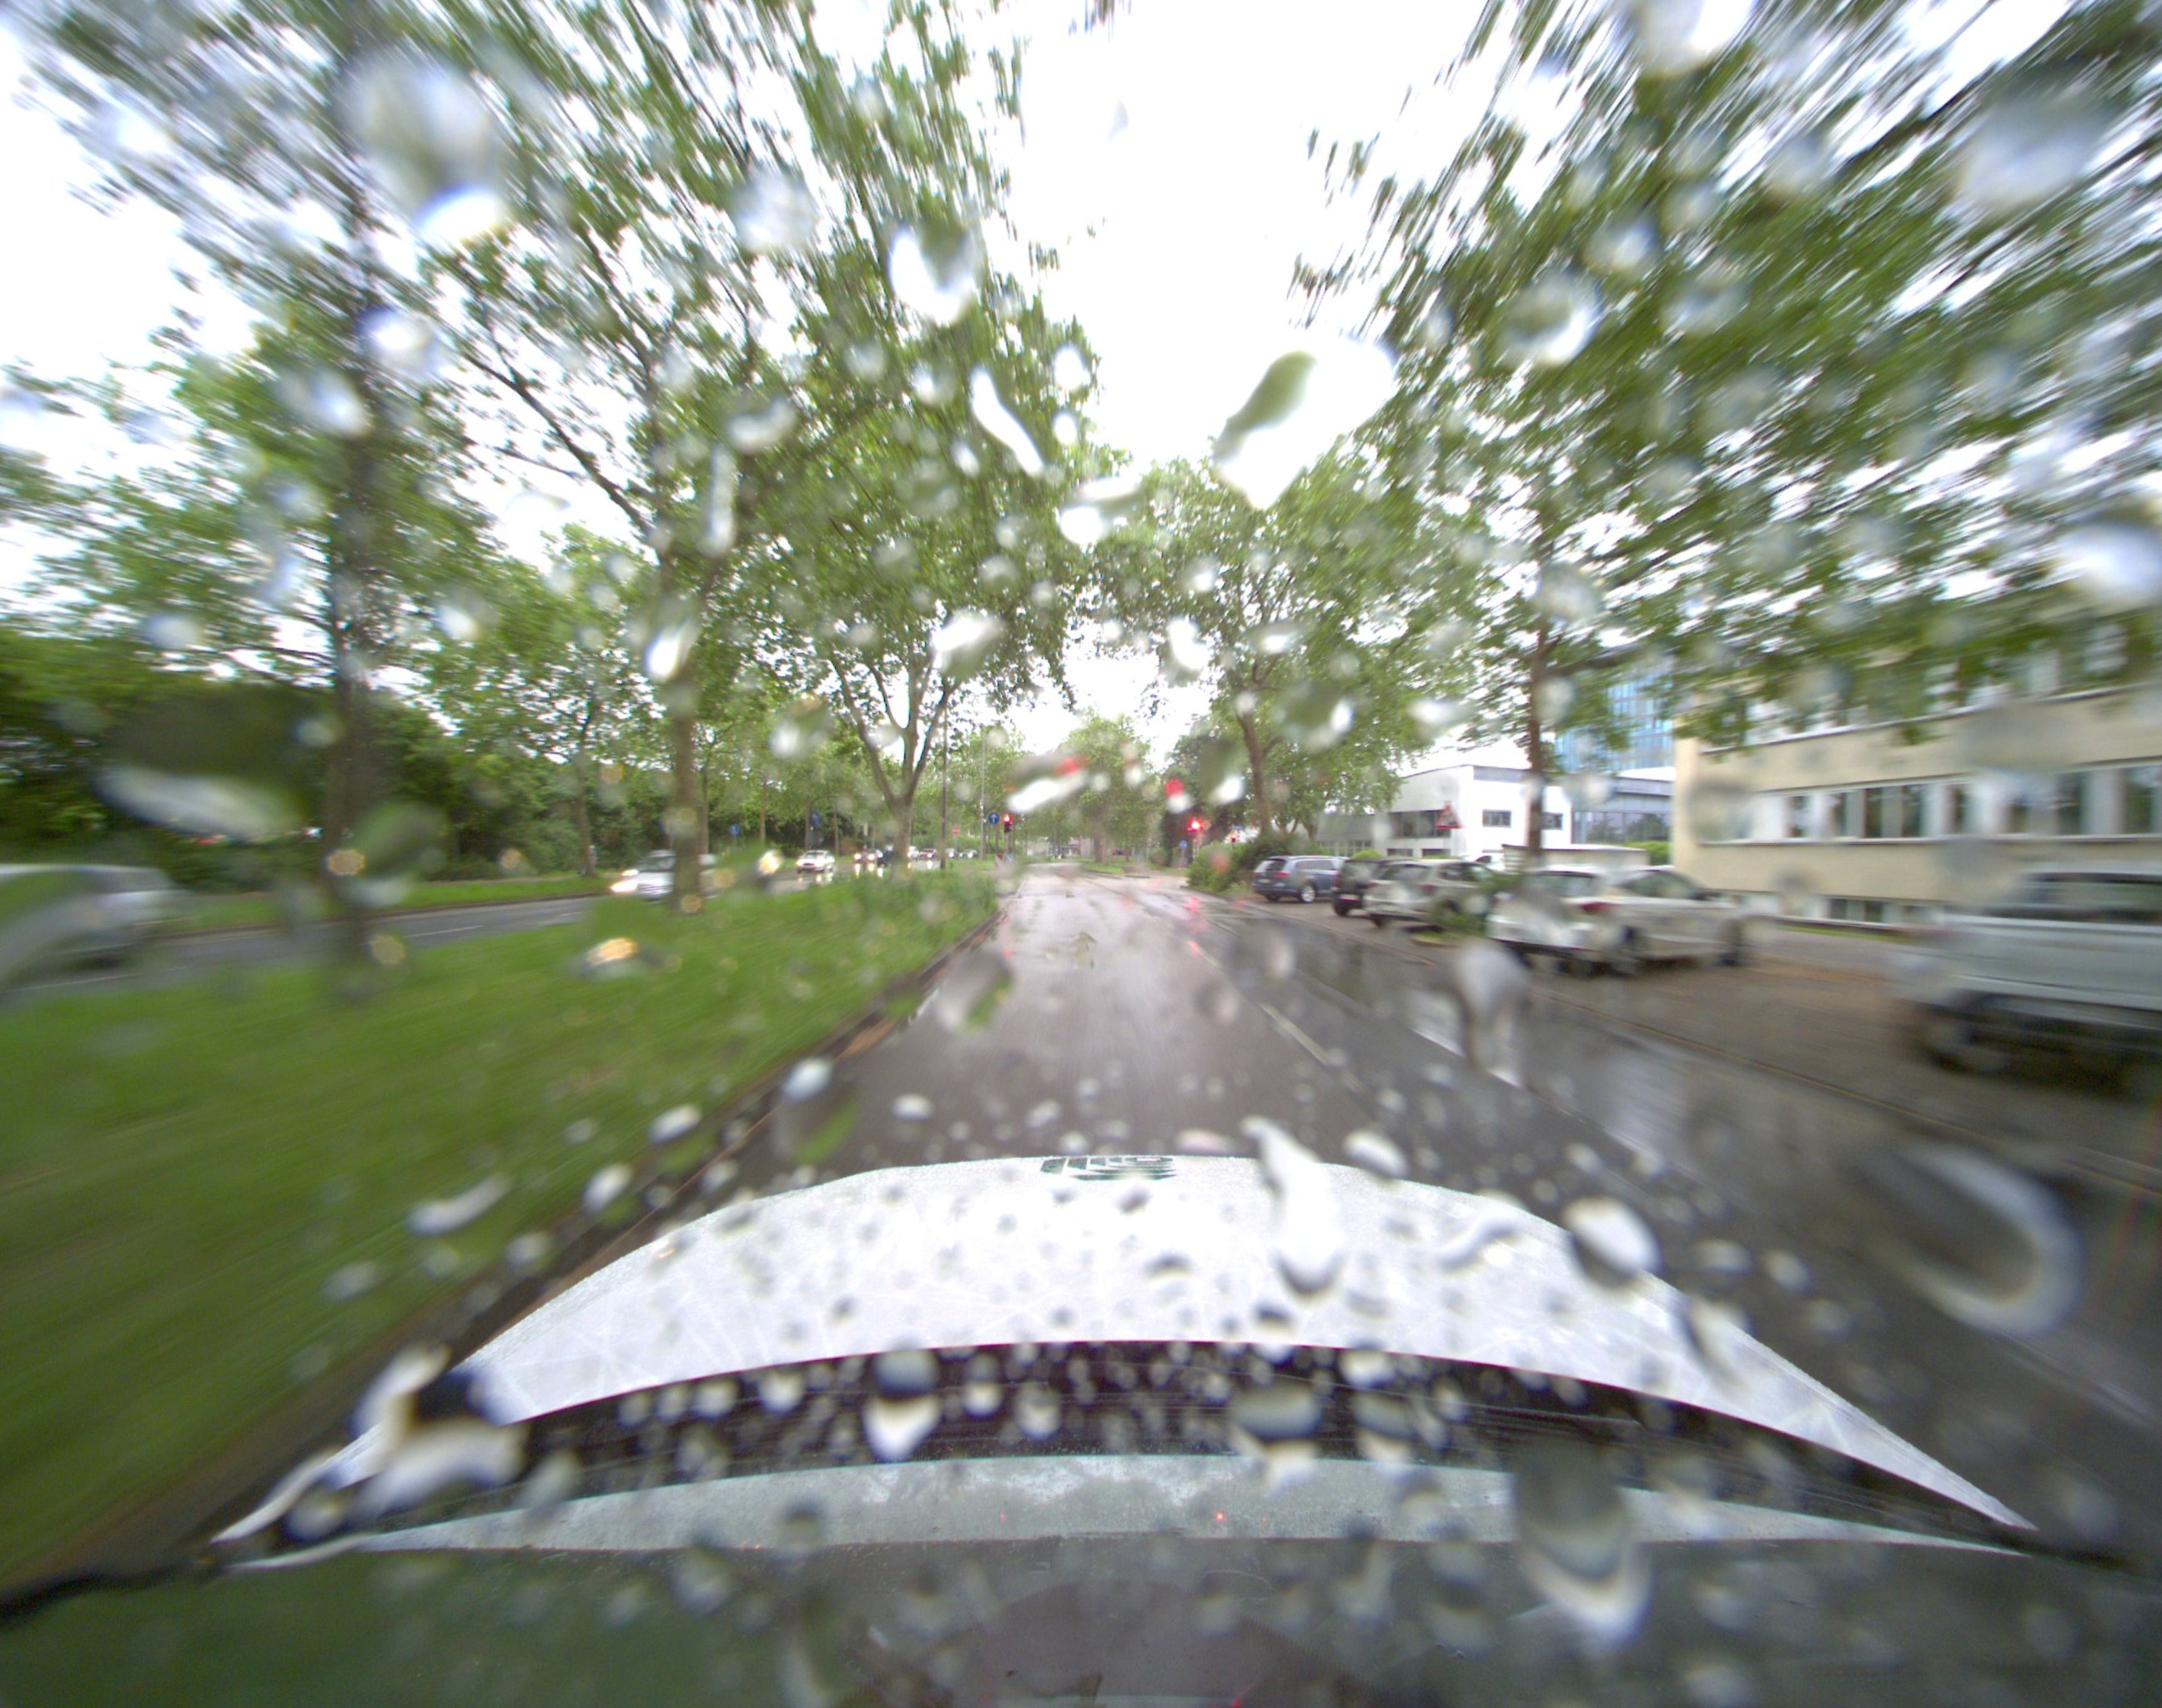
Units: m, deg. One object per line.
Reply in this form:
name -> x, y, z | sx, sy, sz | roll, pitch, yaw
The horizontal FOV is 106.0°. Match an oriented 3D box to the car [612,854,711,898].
car -> -16.033, 0.789, 31.373 | 1.739, 1.591, 4.206 | 0, 0, -3

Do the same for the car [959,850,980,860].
car -> -15.788, 0.119, 115.841 | 1.576, 1.373, 4.276 | 0, 0, 12

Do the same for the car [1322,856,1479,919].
car -> 7.980, 0.763, 20.297 | 3.703, 1.416, 1.733 | 0, 0, -29

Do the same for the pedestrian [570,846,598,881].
pedestrian -> -23.658, 0.441, 38.792 | 0.829, 1.674, 0.898 | 0, 0, -5

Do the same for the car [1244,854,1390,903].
car -> 7.571, 0.742, 26.064 | 4.504, 1.459, 1.734 | 0, 0, -26

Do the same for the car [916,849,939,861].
car -> -18.481, 0.160, 98.332 | 1.737, 1.408, 4.446 | 0, 0, 2

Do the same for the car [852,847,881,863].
car -> -20.142, 0.096, 76.588 | 1.739, 1.476, 4.231 | 0, 0, -2

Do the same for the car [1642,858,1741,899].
car -> 28.538, 1.101, 38.240 | 1.739, 1.757, 3.760 | 0, 0, -3

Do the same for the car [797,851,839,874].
car -> -17.658, 0.538, 54.838 | 1.740, 1.476, 4.228 | 0, 0, -5

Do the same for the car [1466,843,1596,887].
car -> 18.692, 0.449, 33.915 | 4.527, 1.757, 1.747 | 0, 0, -4

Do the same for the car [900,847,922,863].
car -> -18.705, 0.102, 89.683 | 1.739, 1.631, 4.440 | 0, 0, -3

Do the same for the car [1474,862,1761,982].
car -> 7.563, 0.840, 11.471 | 3.699, 1.416, 1.734 | 0, 0, -26

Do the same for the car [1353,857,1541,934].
car -> 7.672, 0.792, 17.021 | 3.703, 1.416, 1.759 | 0, 0, -30

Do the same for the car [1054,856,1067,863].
car -> -3.990, 1.045, 156.676 | 1.576, 1.373, 4.276 | 0, 0, 12

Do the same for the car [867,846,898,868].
car -> -16.607, 0.237, 68.424 | 1.740, 1.841, 5.112 | 0, 0, -5

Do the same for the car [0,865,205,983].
car -> -14.771, 0.918, 10.890 | 1.738, 1.476, 4.080 | 0, 0, -1

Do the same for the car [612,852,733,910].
car -> -12.063, 0.727, 24.362 | 1.740, 1.591, 4.323 | 0, 0, -5

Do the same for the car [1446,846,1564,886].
car -> 19.105, 0.523, 36.792 | 4.532, 1.757, 1.777 | 0, 0, -6

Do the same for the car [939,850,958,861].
car -> -17.487, 0.164, 107.745 | 1.578, 1.373, 3.341 | 0, 0, 7

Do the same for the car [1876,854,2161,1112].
car -> 7.996, 0.772, 6.263 | 4.051, 1.539, 1.732 | 0, 0, -31
